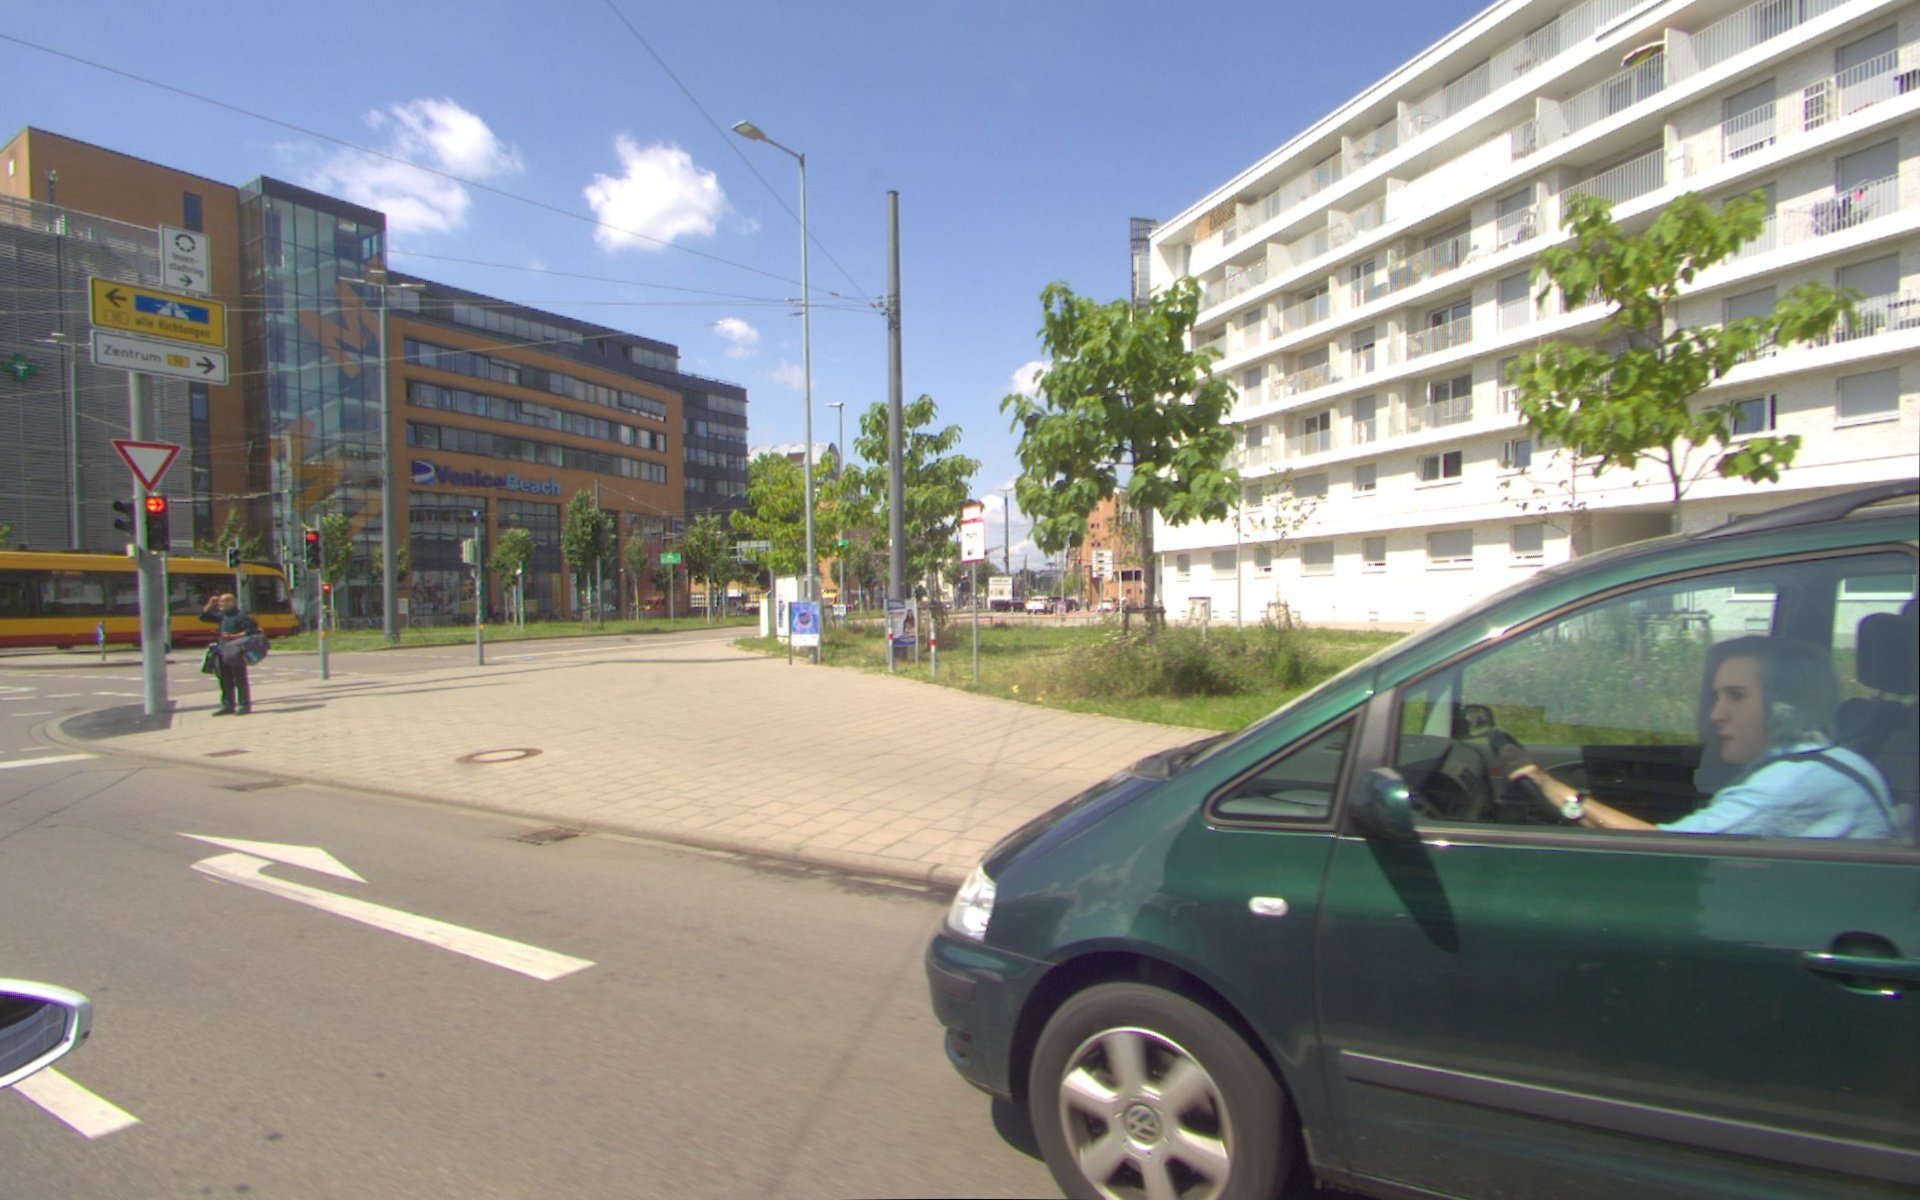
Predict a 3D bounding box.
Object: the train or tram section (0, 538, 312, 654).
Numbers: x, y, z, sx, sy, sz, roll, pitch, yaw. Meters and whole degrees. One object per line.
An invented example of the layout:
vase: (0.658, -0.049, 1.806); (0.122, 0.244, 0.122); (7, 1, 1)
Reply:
train or tram section: (-30.510, -0.062, 36.616); (3.009, 3.668, 12.621); (0, -1, 15)

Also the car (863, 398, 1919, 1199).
car: (2.328, 0.580, 2.164); (4.957, 1.779, 1.816); (0, -1, 31)

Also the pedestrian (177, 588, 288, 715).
pedestrian: (-10.284, 0.710, 14.184); (0.901, 1.725, 0.808); (-1, 2, 4)
